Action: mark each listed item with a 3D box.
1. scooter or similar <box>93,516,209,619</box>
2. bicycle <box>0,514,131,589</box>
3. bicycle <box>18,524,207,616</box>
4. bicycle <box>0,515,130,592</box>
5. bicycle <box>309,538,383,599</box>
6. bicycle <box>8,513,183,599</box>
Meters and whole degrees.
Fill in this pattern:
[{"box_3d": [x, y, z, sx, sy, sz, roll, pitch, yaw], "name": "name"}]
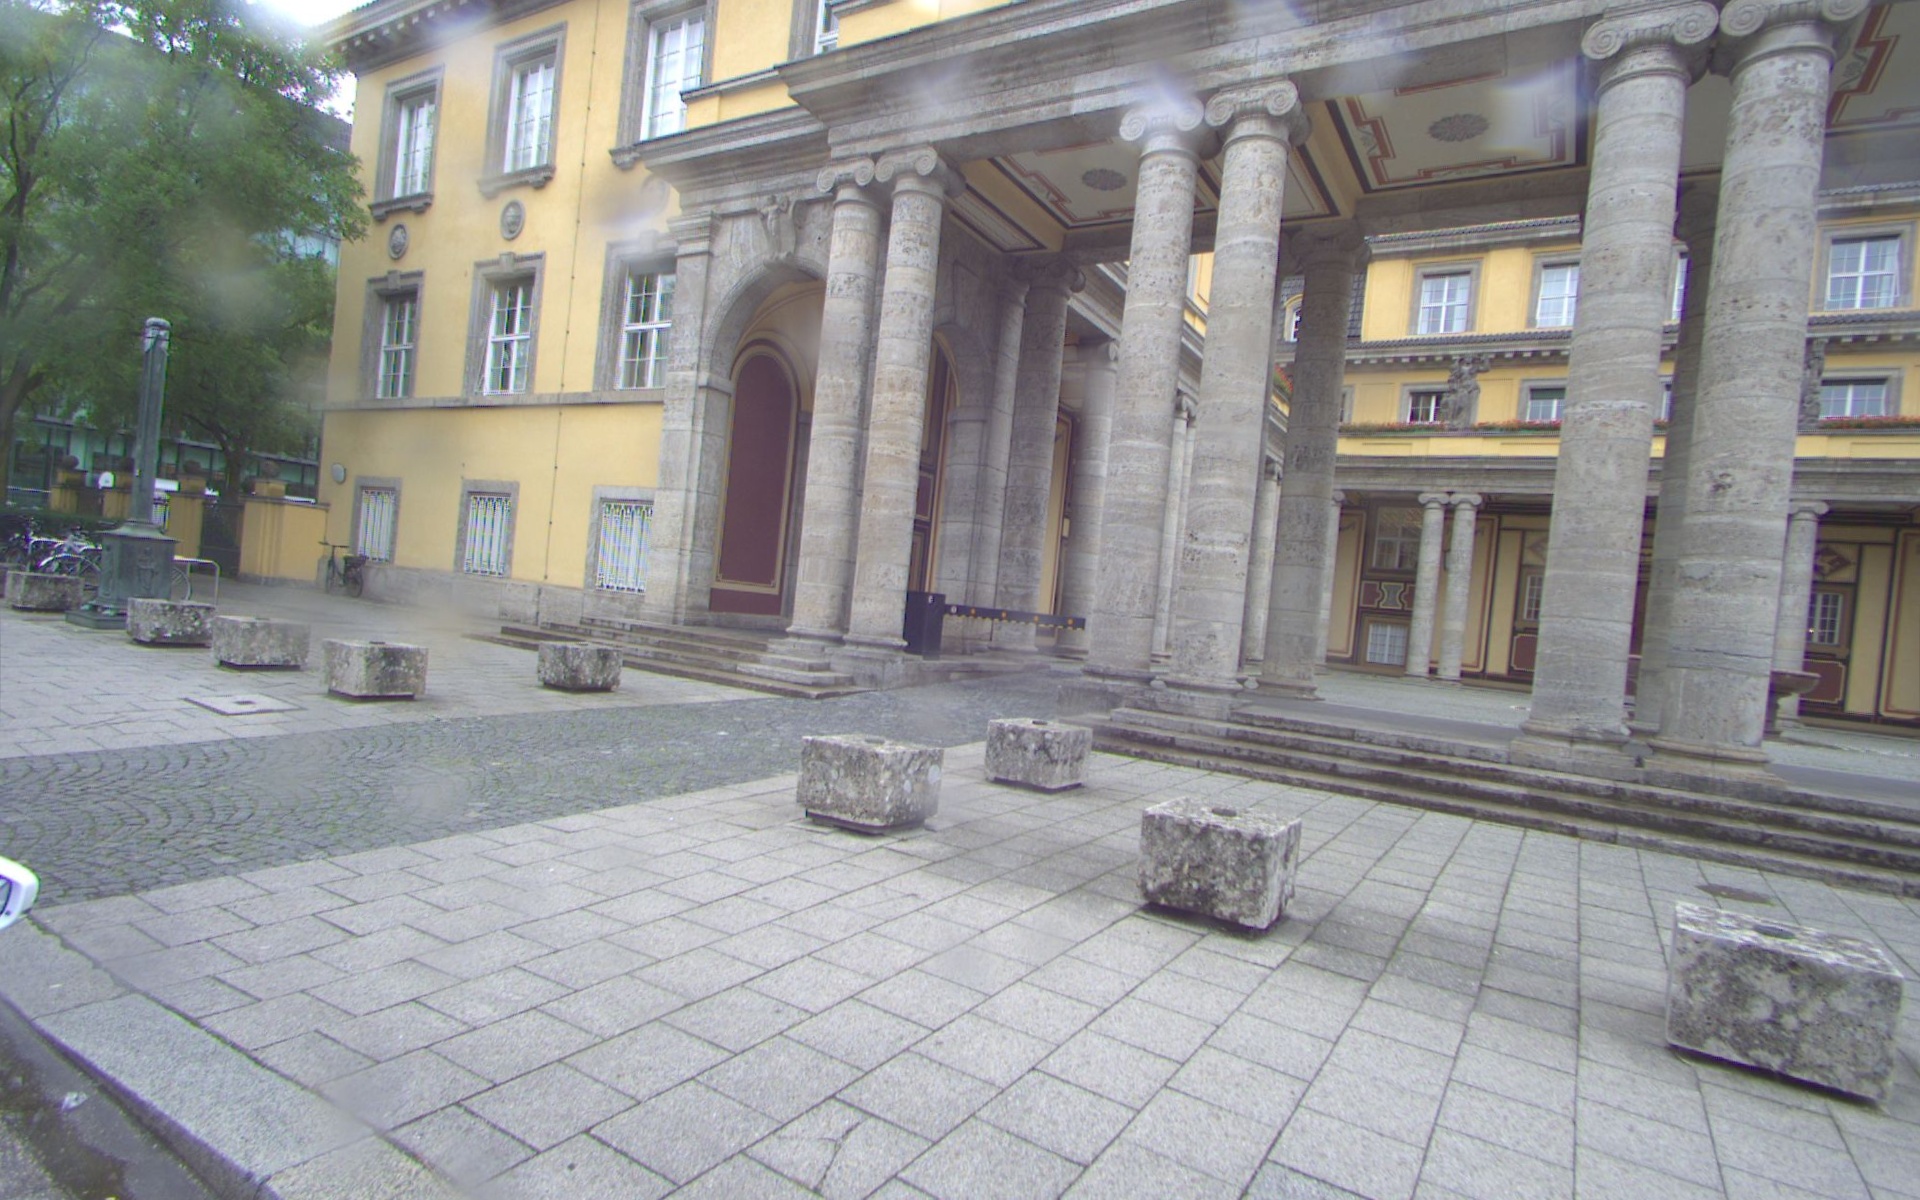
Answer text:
[{"box_3d": [-10.684, -0.423, 13.313, 0.996, 1.238, 0.536, 5, 2, -13], "name": "scooter or similar"}, {"box_3d": [-15.557, -0.818, 17.275, 0.464, 1.128, 1.932, 7, 1, 33], "name": "bicycle"}, {"box_3d": [-11.750, -0.383, 14.023, 0.463, 1.128, 1.934, 6, 1, 29], "name": "bicycle"}, {"box_3d": [-15.044, -0.759, 16.633, 0.464, 1.128, 1.931, 7, 1, 34], "name": "bicycle"}, {"box_3d": [-13.749, -0.705, 22.522, 1.870, 1.169, 0.542, 7, 2, 31], "name": "bicycle"}, {"box_3d": [-13.154, -0.640, 15.370, 0.464, 1.128, 1.931, 7, 1, 34], "name": "bicycle"}]
